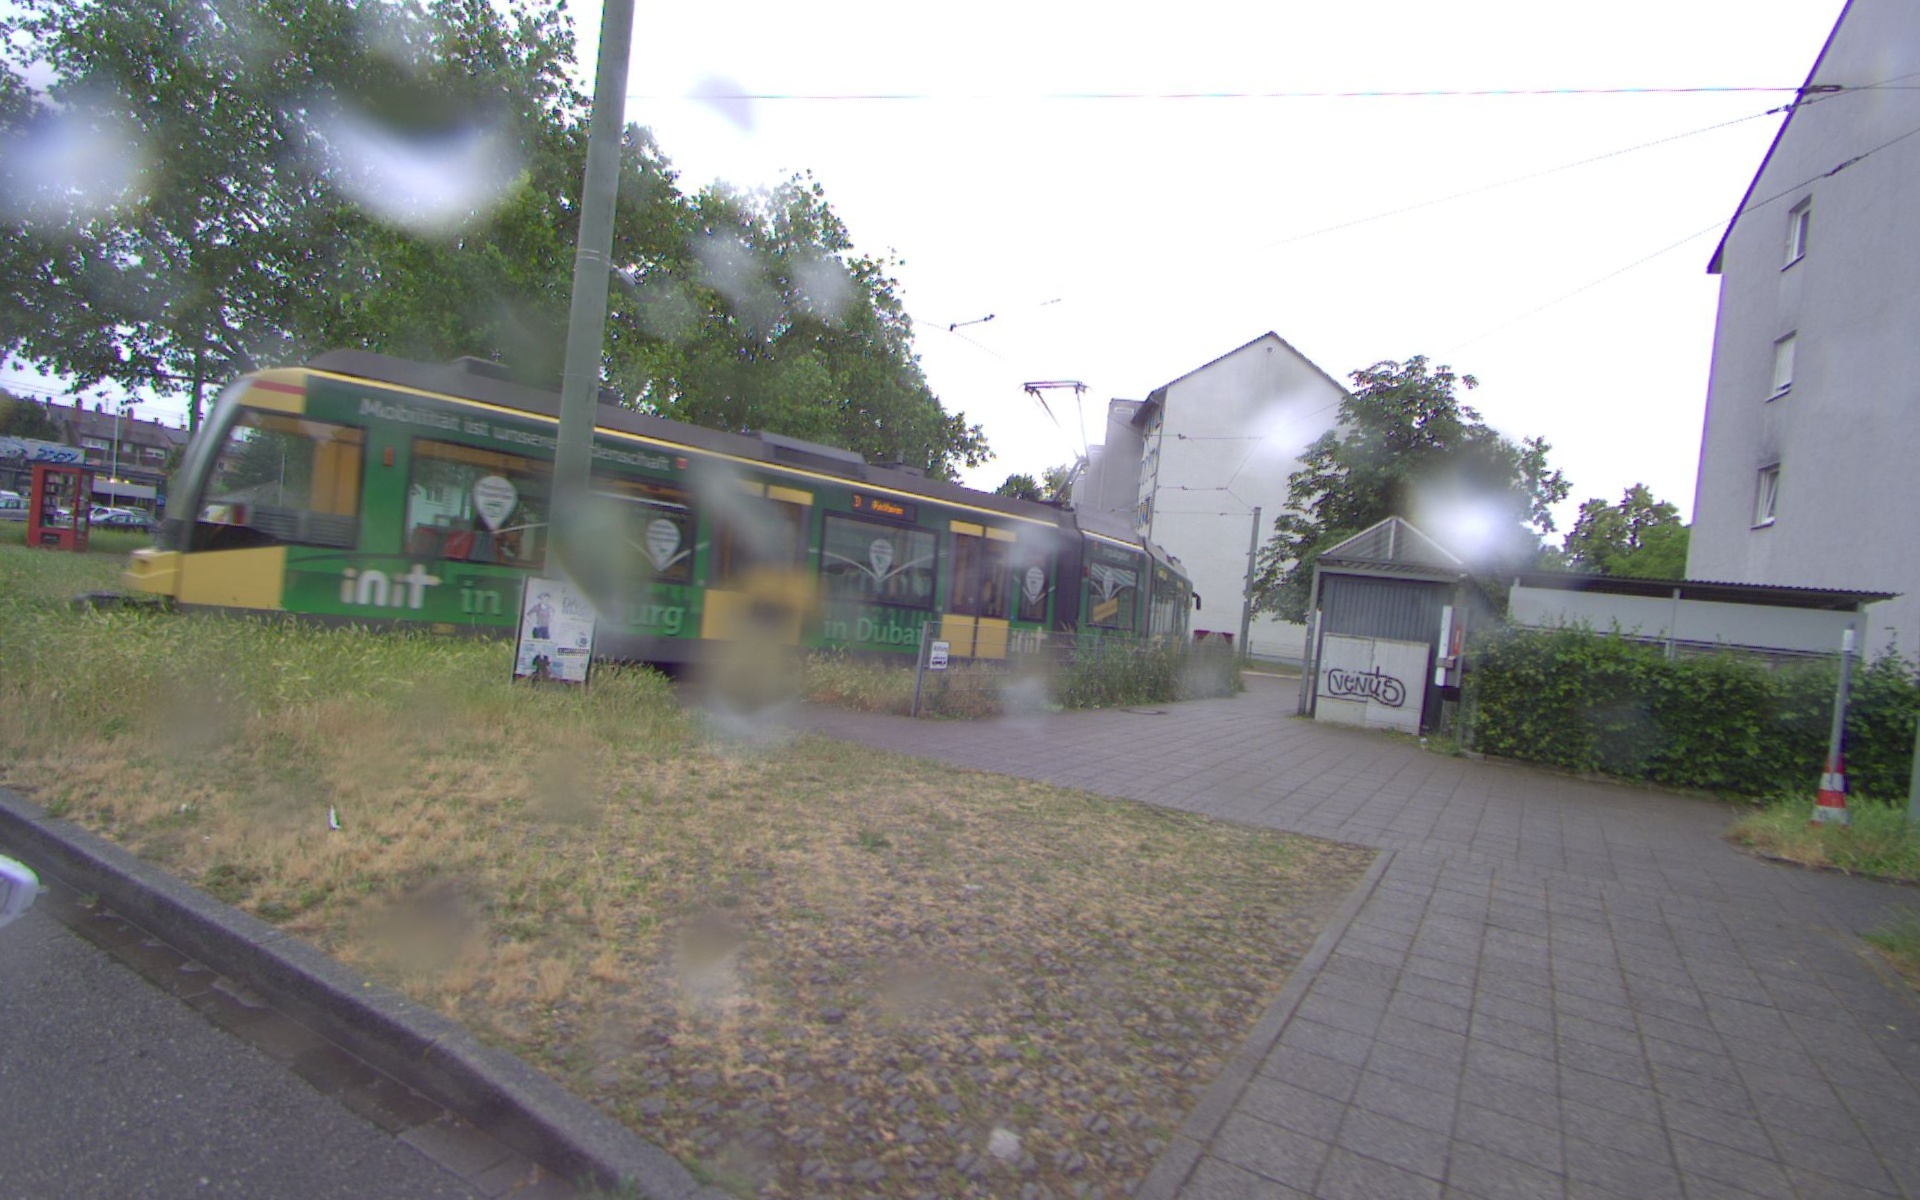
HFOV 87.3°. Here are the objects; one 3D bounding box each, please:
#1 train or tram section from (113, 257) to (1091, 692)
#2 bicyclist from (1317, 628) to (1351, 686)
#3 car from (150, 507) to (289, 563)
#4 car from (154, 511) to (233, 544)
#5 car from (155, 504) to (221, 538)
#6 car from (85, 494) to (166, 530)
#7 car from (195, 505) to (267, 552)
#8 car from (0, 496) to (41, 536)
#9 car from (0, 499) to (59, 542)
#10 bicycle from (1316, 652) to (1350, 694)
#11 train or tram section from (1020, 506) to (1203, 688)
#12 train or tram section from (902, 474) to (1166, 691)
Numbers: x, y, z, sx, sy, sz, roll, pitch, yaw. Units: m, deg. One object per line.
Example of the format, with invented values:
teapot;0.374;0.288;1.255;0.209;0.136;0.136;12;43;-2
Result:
train or tram section;-3.499;-0.802;14.479;13.043;3.597;2.736;7;0;-43
bicyclist;10.377;1.586;27.877;0.626;1.491;1.108;6;-2;26
car;-29.001;-2.523;39.515;3.855;1.512;1.806;8;-2;-15
car;-55.169;-5.178;72.448;1.816;1.658;3.994;6;-3;32
car;-61.605;-6.288;80.264;3.924;2.037;2.003;7;-2;14
car;-60.183;-6.342;72.608;1.969;1.811;3.992;6;-3;35
car;-46.447;-4.547;64.104;4.281;2.471;1.998;6;-2;31
car;-54.429;-4.928;56.193;1.966;1.973;3.997;6;-2;30
car;-46.285;-3.974;48.561;1.859;1.720;3.691;6;-3;32
bicycle;10.380;2.027;27.991;0.589;1.080;2.030;6;-1;26
train or tram section;4.555;0.149;27.056;2.717;3.597;12.206;6;0;17
train or tram section;1.614;-0.218;19.637;2.725;3.597;4.974;6;0;34
